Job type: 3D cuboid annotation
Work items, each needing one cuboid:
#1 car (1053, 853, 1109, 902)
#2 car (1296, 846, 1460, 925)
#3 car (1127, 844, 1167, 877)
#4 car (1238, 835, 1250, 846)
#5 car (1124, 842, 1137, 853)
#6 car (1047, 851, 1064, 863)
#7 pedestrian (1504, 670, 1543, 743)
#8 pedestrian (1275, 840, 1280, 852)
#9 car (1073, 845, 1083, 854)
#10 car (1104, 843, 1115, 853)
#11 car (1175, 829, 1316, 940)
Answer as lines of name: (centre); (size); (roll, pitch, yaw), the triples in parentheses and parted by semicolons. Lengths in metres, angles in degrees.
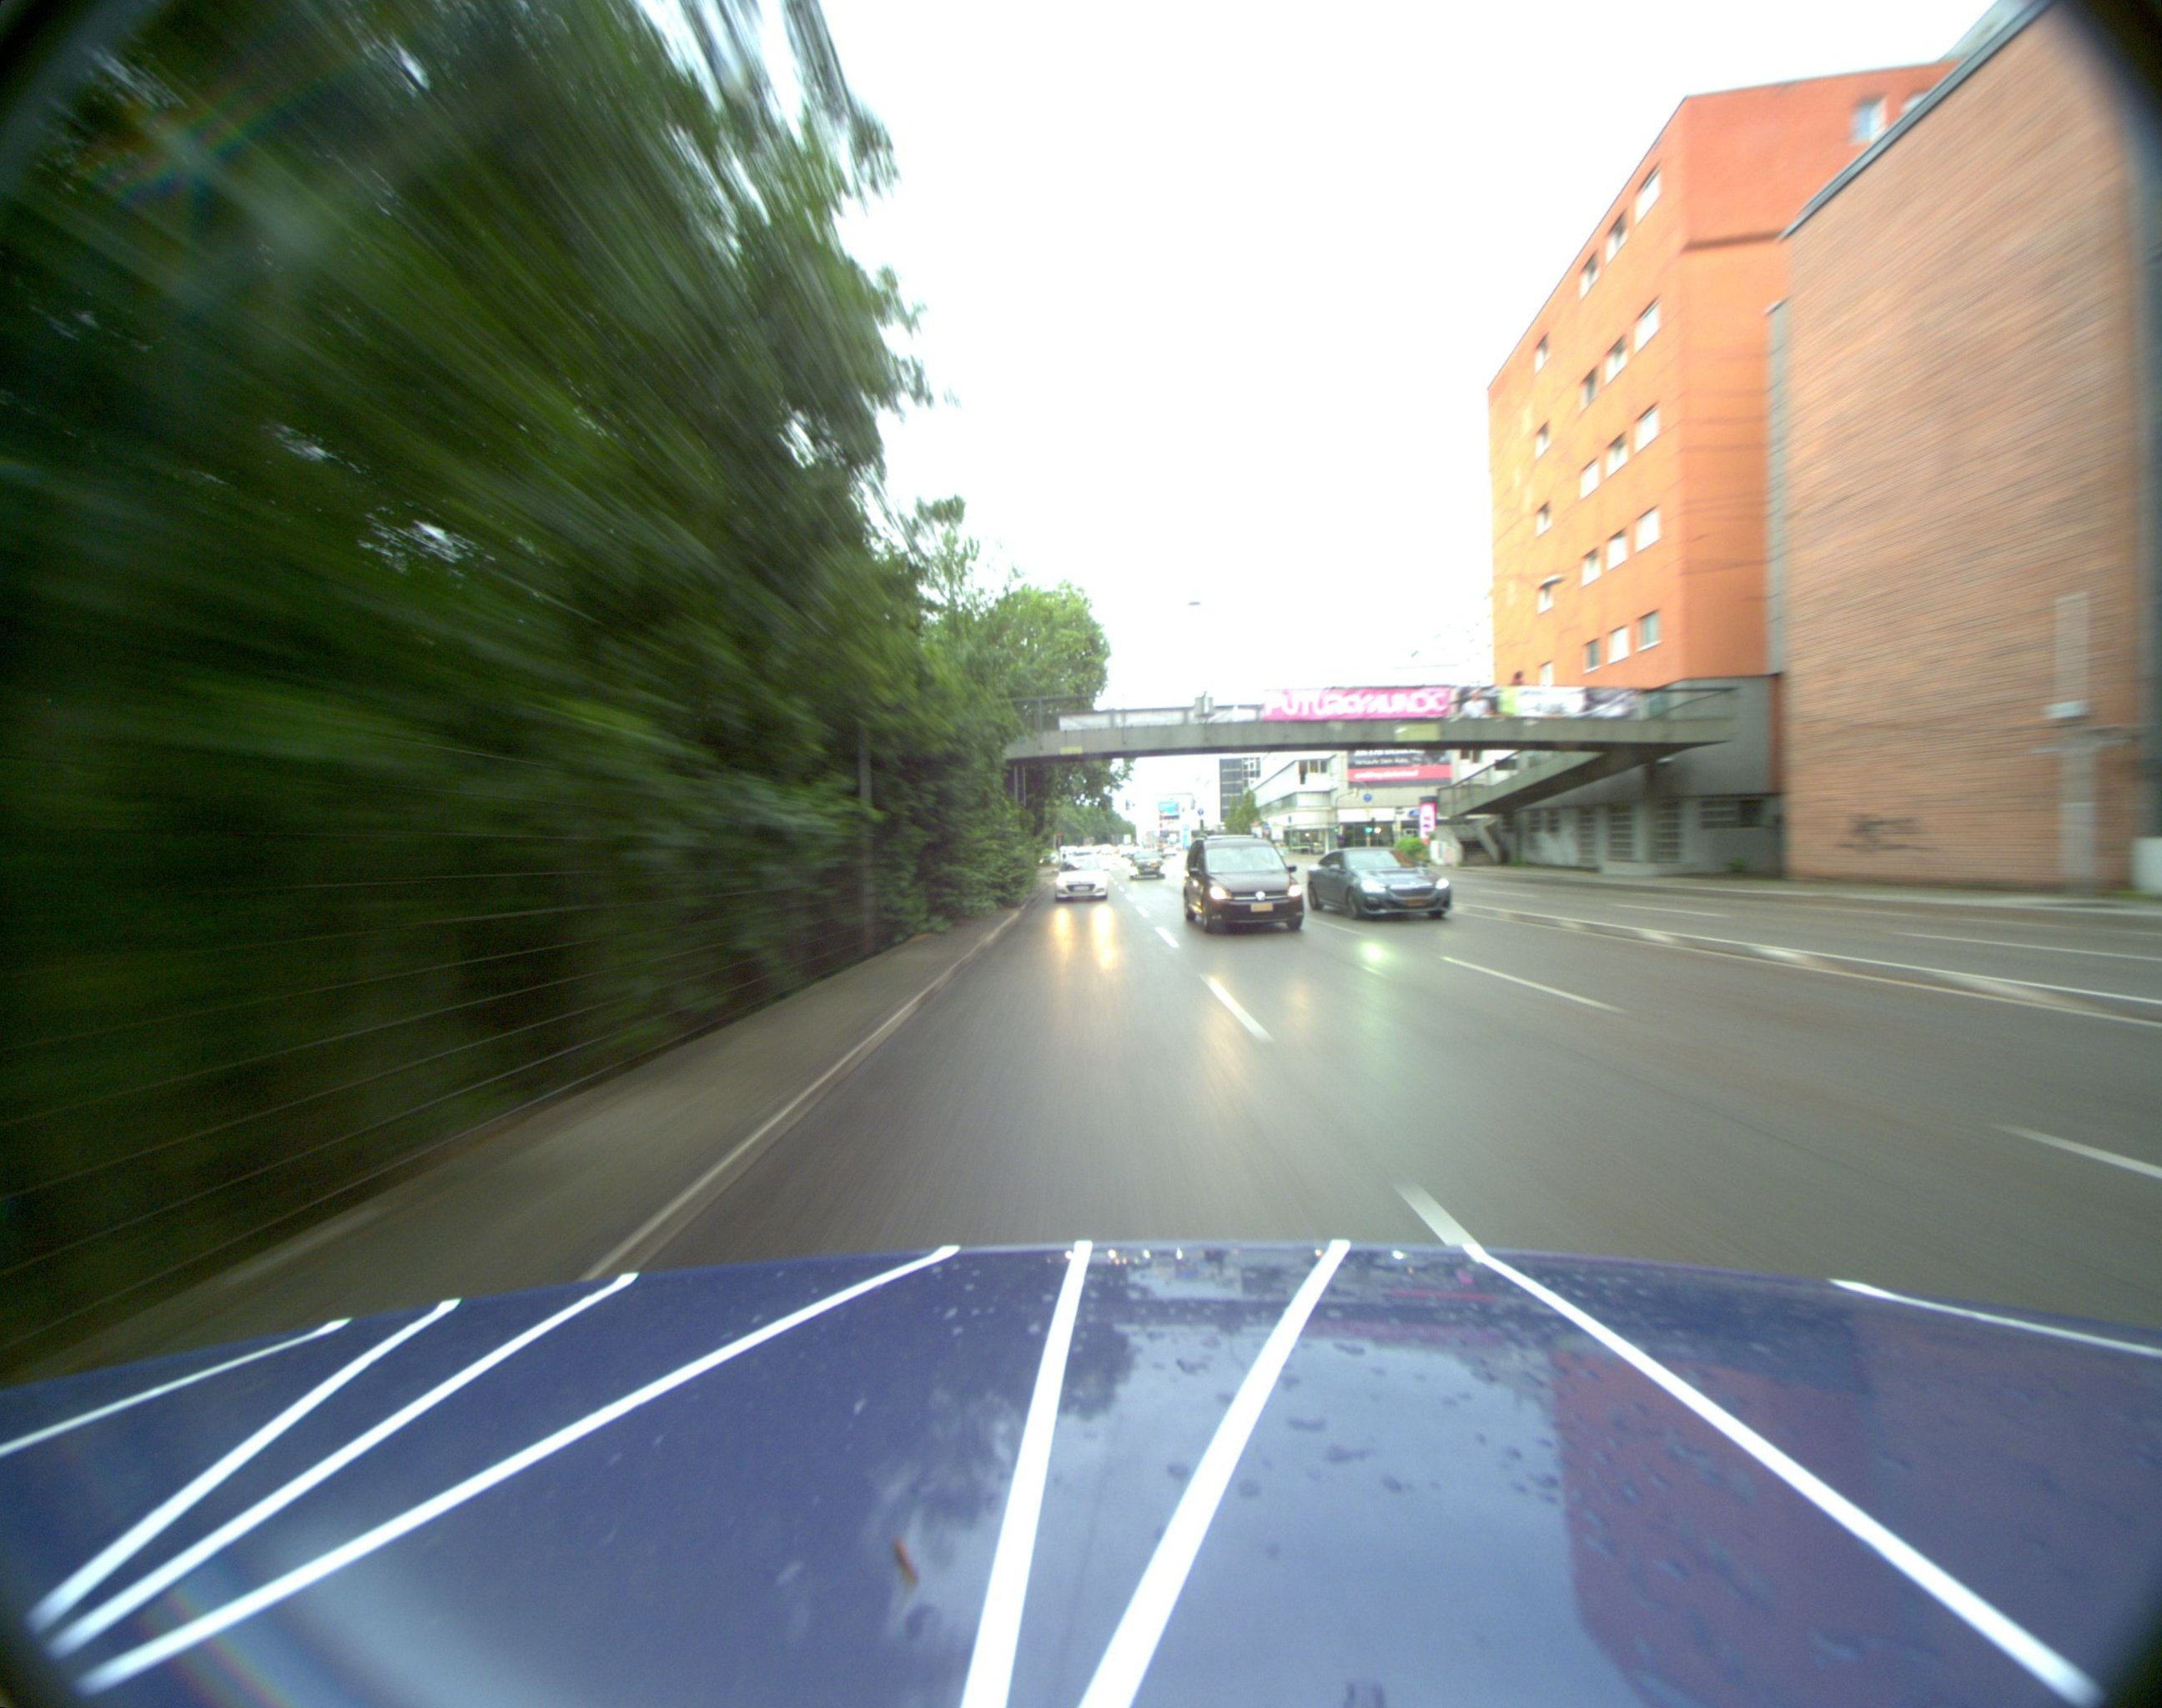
car: (0.003, 0.753, 26.412); (1.731, 1.431, 3.999); (-3, 1, 0)
car: (6.127, 0.584, 16.291); (1.669, 1.406, 4.539); (-2, 0, -1)
car: (3.517, 0.286, 40.893); (1.731, 1.604, 3.999); (-3, 1, 0)
car: (28.963, -2.399, 135.272); (1.883, 1.856, 4.002); (-3, 1, 9)
car: (7.154, -0.902, 109.810); (1.730, 1.502, 3.732); (-3, 1, 5)
car: (-3.389, 0.398, 101.486); (1.730, 1.502, 3.731); (-3, 1, 4)
pedestrian: (14.397, -4.789, 24.728); (0.833, 2.242, 0.738); (-1, 2, -5)
pedestrian: (25.415, -0.995, 98.321); (0.575, 1.522, 0.454); (-2, 1, 6)
car: (-0.687, -1.020, 159.560); (1.878, 1.762, 3.999); (-4, 2, 2)
car: (5.219, -1.116, 138.146); (1.878, 1.762, 3.999); (-4, 2, 2)
car: (3.056, 0.510, 14.954); (1.842, 1.780, 4.000); (-3, 0, 0)
